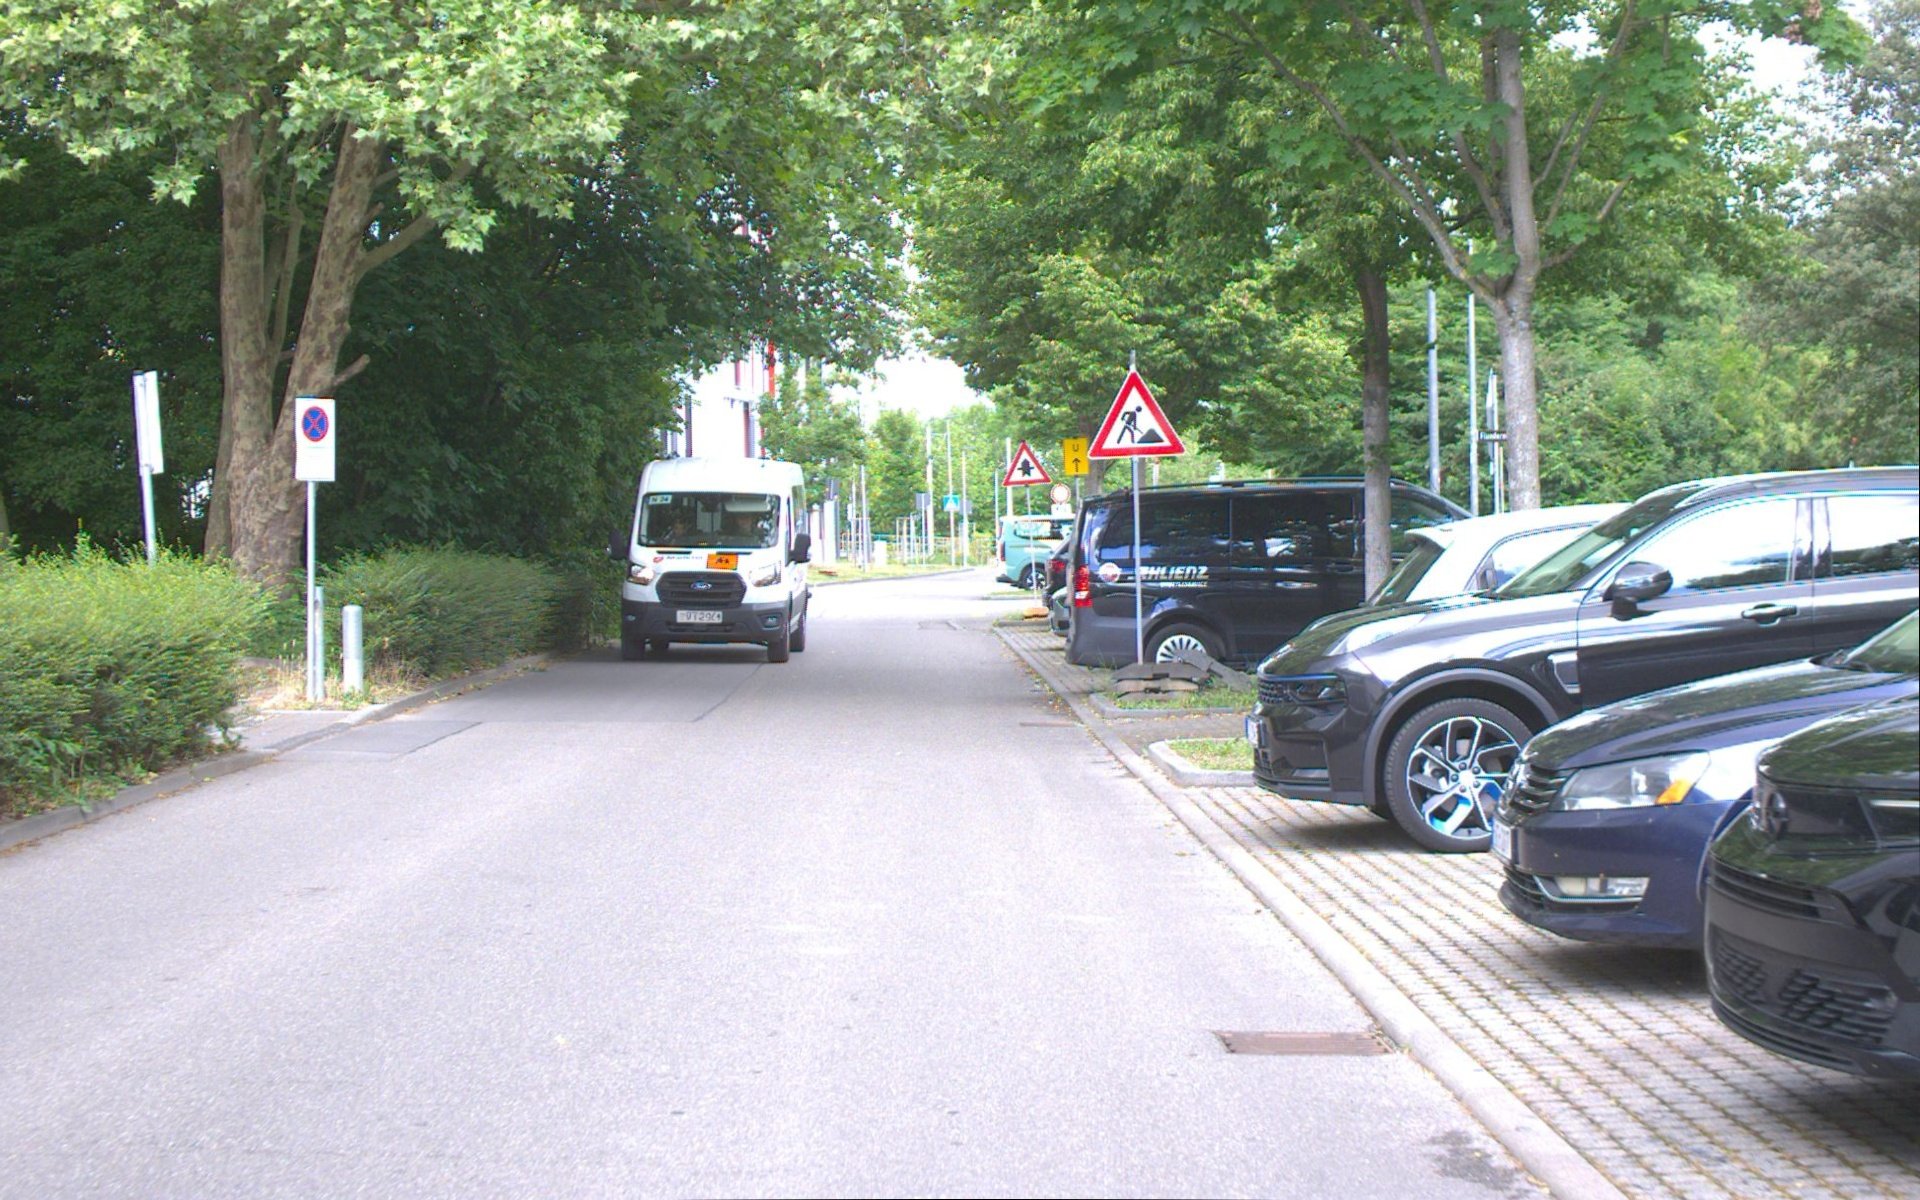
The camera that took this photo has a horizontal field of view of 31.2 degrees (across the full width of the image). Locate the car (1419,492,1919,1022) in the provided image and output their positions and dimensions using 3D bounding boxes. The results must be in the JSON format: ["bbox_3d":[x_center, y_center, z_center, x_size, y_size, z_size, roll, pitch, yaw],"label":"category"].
[{"bbox_3d":[3.956,0.383,11.176,4.636,1.512,1.983,-2,2,1],"label":"car"}]

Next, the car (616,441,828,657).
[{"bbox_3d":[-2.868,-0.661,42.815,2.132,2.467,6.277,1,1,1],"label":"car"}]

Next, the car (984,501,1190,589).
[{"bbox_3d":[3.130,-1.359,85.167,4.972,1.965,1.847,-2,1,1],"label":"car"}]

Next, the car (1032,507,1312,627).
[{"bbox_3d":[3.227,-0.507,52.452,4.124,1.644,1.980,-2,0,3],"label":"car"}]

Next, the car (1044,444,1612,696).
[{"bbox_3d":[3.319,-0.287,31.864,4.954,2.007,2.166,-3,1,1],"label":"car"}]

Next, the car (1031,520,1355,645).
[{"bbox_3d":[2.977,-0.230,44.566,3.987,1.425,1.936,-2,0,-1],"label":"car"}]

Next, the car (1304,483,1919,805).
[{"bbox_3d":[3.705,0.203,18.966,3.379,1.569,1.797,-2,2,0],"label":"car"}]

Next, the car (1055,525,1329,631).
[{"bbox_3d":[3.340,-0.322,49.741,3.832,1.354,1.822,-2,0,3],"label":"car"}]

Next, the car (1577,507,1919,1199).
[{"bbox_3d":[3.742,0.478,8.226,4.072,1.512,1.851,-2,1,-4],"label":"car"}]

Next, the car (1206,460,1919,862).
[{"bbox_3d":[3.494,0.214,16.340,4.415,1.670,2.082,-2,2,-1],"label":"car"}]
